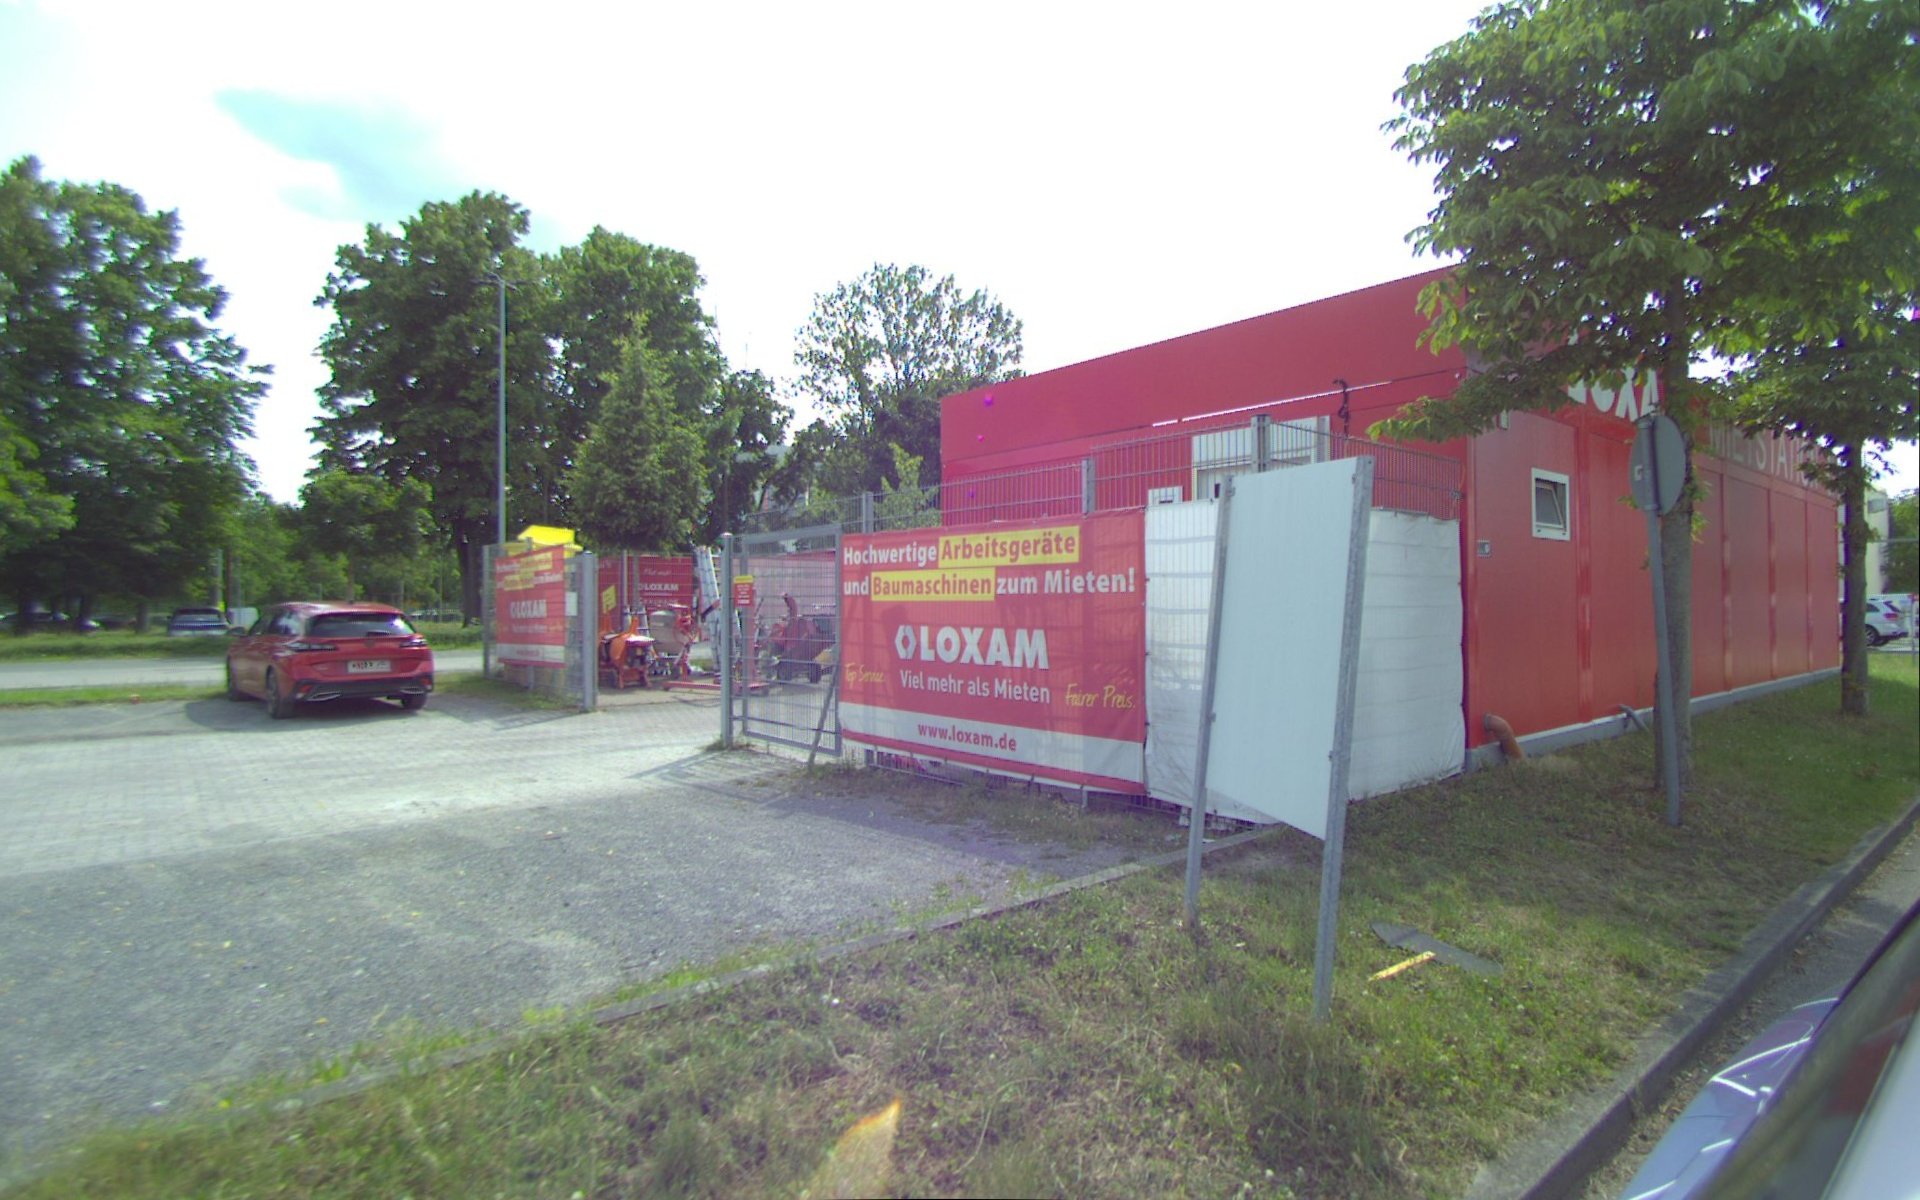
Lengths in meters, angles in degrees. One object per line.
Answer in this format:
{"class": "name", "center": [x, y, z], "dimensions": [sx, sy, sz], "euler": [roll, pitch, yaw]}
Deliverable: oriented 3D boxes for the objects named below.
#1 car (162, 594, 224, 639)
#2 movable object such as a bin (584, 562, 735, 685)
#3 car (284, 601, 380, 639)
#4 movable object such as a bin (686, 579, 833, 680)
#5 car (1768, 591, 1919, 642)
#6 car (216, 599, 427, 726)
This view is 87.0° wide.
{"class": "car", "center": [-30.250, 0.613, 40.001], "dimensions": [1.867, 1.676, 3.487], "euler": [-1, 1, -36]}
{"class": "movable object such as a bin", "center": [-5.111, 0.359, 17.023], "dimensions": [1.364, 1.867, 3.008], "euler": [1, -1, -40]}
{"class": "car", "center": [-26.741, 0.823, 43.104], "dimensions": [3.299, 1.297, 1.695], "euler": [-4, 3, -37]}
{"class": "movable object such as a bin", "center": [-3.701, 0.495, 18.421], "dimensions": [1.364, 1.691, 3.008], "euler": [1, -1, -40]}
{"class": "car", "center": [32.284, 0.569, 36.385], "dimensions": [1.836, 1.721, 4.829], "euler": [1, -1, -42]}
{"class": "car", "center": [-8.853, 0.734, 13.891], "dimensions": [1.592, 1.432, 4.134], "euler": [-1, 1, -45]}
